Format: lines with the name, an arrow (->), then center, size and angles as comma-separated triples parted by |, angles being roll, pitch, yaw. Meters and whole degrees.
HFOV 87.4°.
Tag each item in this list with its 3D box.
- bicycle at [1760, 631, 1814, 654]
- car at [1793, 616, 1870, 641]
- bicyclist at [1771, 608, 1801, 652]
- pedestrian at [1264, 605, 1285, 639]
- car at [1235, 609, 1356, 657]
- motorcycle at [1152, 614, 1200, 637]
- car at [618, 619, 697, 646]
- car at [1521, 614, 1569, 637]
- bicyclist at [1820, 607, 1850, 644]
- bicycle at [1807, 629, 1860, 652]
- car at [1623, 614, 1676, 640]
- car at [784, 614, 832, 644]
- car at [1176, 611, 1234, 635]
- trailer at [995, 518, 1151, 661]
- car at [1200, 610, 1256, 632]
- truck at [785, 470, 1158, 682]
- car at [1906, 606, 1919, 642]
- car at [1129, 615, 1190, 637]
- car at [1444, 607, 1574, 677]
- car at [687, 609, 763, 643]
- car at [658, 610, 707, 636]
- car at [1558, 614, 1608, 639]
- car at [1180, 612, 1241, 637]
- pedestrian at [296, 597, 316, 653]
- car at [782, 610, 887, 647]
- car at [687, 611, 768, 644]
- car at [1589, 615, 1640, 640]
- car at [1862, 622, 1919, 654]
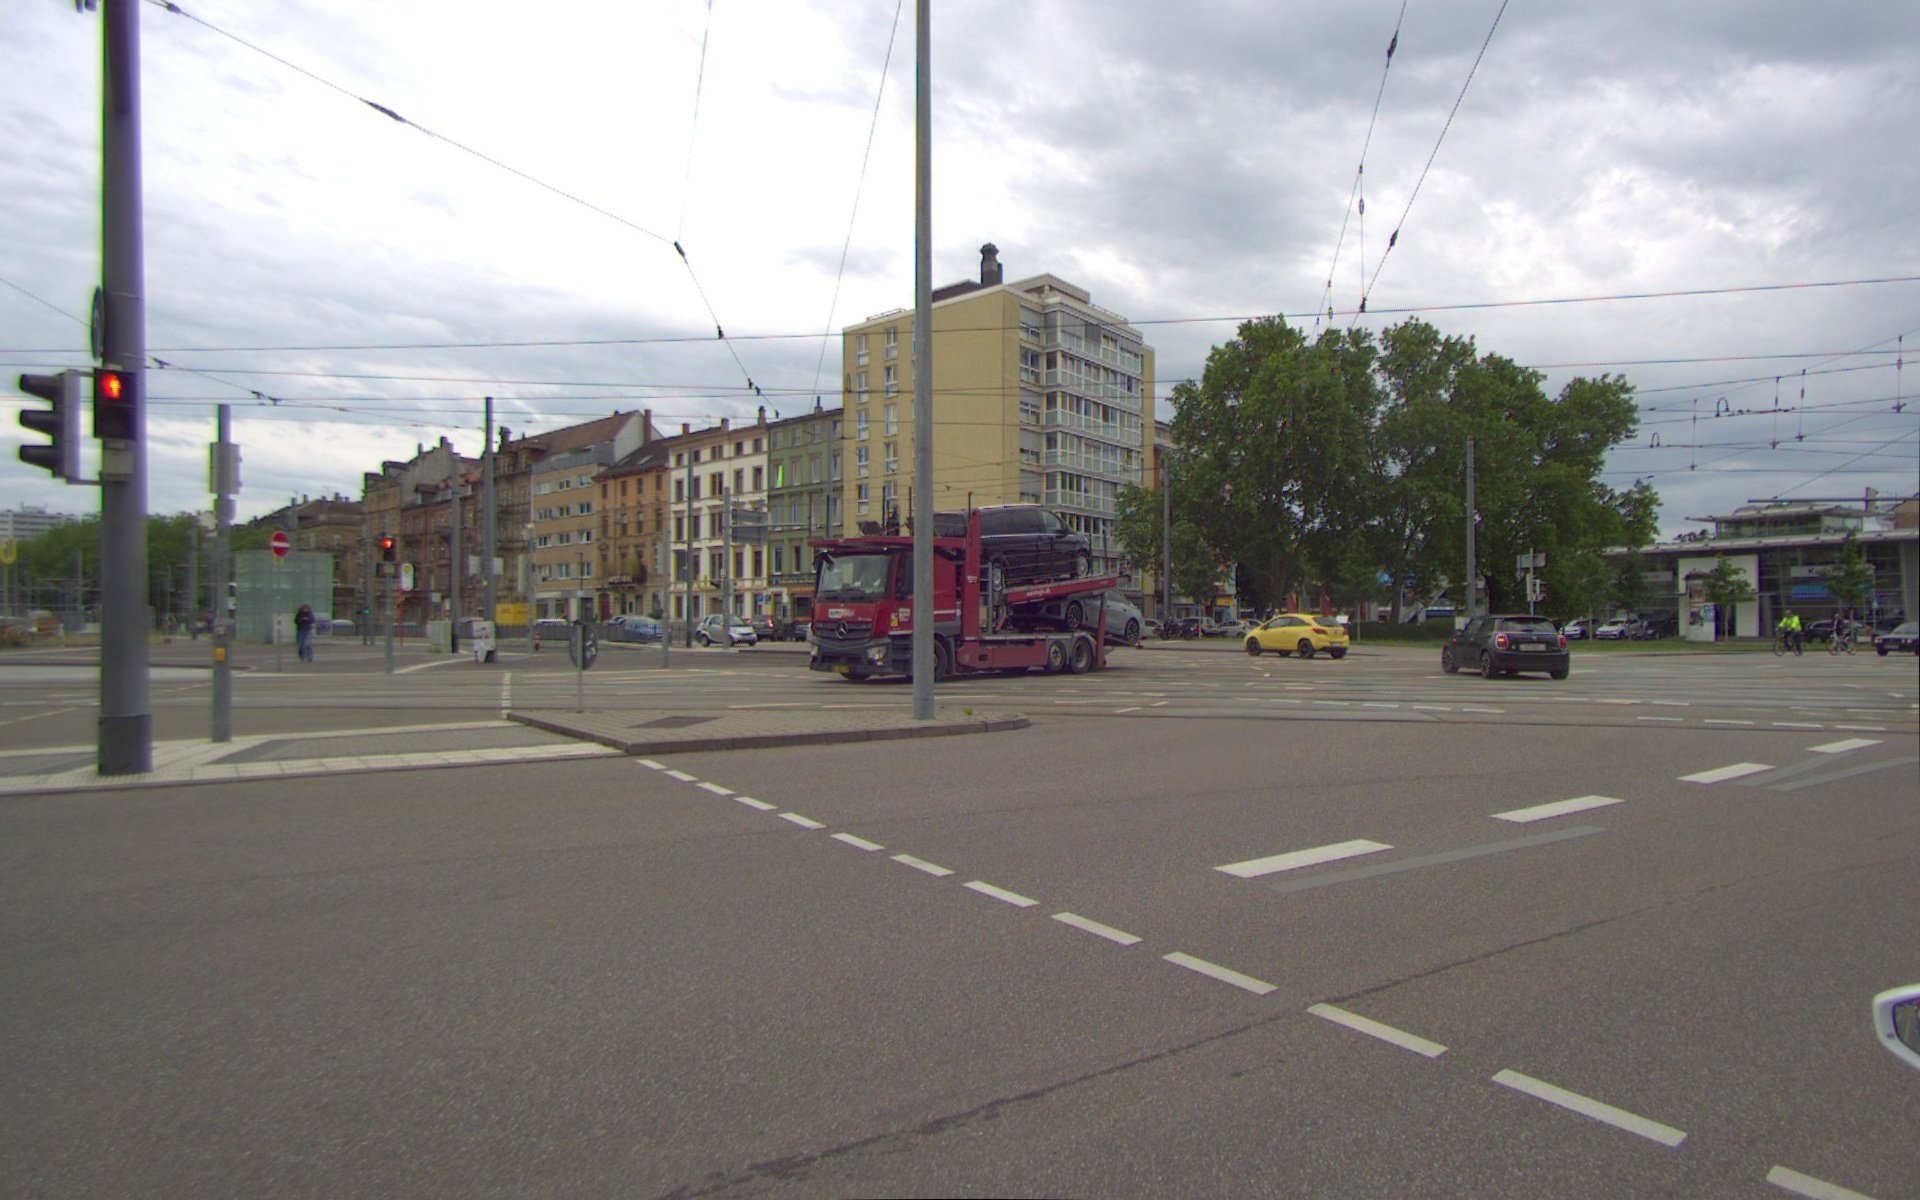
bicycle -> 34.527, 1.770, 41.925 | 2.185, 0.942, 0.519 | 0, 0, -14
car -> 50.907, 1.631, 58.672 | 3.675, 1.439, 1.636 | 0, -1, -15
bicyclist -> 34.400, 1.244, 41.819 | 0.784, 1.827, 0.628 | 0, -1, -13
pedestrian -> 16.431, 1.165, 52.444 | 0.899, 1.742, 0.706 | 1, 0, 28
car -> 11.571, 1.108, 34.909 | 1.798, 1.514, 3.977 | 1, 0, -23
motorcycle -> 12.083, 1.416, 56.335 | 2.510, 1.194, 0.860 | 1, 0, 41
car -> -15.655, 1.636, 51.926 | 3.937, 1.327, 1.992 | -1, -1, 38
car -> 51.918, 2.259, 89.109 | 3.952, 2.040, 1.985 | 1, 0, -29
bicyclist -> 37.122, 1.069, 42.622 | 0.842, 1.528, 0.566 | -1, 0, -13
bicycle -> 37.088, 1.709, 42.646 | 2.185, 0.938, 0.519 | 0, 0, -14
car -> 56.194, 2.194, 81.832 | 3.952, 2.040, 1.985 | 1, 0, -29
car -> -9.593, 1.800, 63.827 | 2.039, 1.779, 4.002 | 1, 0, 6
car -> 18.992, 1.753, 77.991 | 3.935, 1.728, 1.993 | 1, 0, 36
trailer -> 3.399, -0.291, 33.359 | 2.941, 4.026, 9.542 | 1, 0, -7
car -> 21.921, 1.692, 82.194 | 3.935, 1.728, 1.993 | 1, 0, 36
truck -> 0.840, -0.397, 23.762 | 2.969, 3.972, 10.409 | 1, 0, 39
car -> 57.081, 1.416, 56.819 | 2.087, 2.040, 4.764 | 1, 0, -17
car -> 14.409, 1.859, 72.635 | 3.936, 1.572, 1.993 | -1, -1, 37
car -> 12.812, 0.939, 23.704 | 1.739, 1.488, 4.002 | 0, -1, 14
car -> -12.903, 1.392, 55.097 | 3.937, 1.751, 1.992 | 1, 0, 38
car -> -19.905, 1.633, 72.123 | 2.039, 1.779, 4.002 | 1, 0, 6
car -> 53.730, 2.286, 86.578 | 3.952, 2.040, 1.985 | 1, 0, -29
car -> 18.639, 1.815, 74.739 | 3.935, 1.728, 1.993 | 1, 0, 36
pedestrian -> -19.065, 0.727, 29.289 | 0.475, 1.632, 0.422 | 1, -1, -35
car -> -5.449, 1.211, 43.187 | 4.612, 1.513, 1.989 | -1, -1, 42
car -> -11.267, 1.291, 48.566 | 3.563, 1.513, 1.993 | 0, -1, 37
car -> 55.022, 2.278, 84.427 | 3.952, 2.040, 1.985 | 1, 0, -29
car -> 38.647, 1.512, 40.600 | 3.678, 1.263, 1.685 | 0, -1, -18
